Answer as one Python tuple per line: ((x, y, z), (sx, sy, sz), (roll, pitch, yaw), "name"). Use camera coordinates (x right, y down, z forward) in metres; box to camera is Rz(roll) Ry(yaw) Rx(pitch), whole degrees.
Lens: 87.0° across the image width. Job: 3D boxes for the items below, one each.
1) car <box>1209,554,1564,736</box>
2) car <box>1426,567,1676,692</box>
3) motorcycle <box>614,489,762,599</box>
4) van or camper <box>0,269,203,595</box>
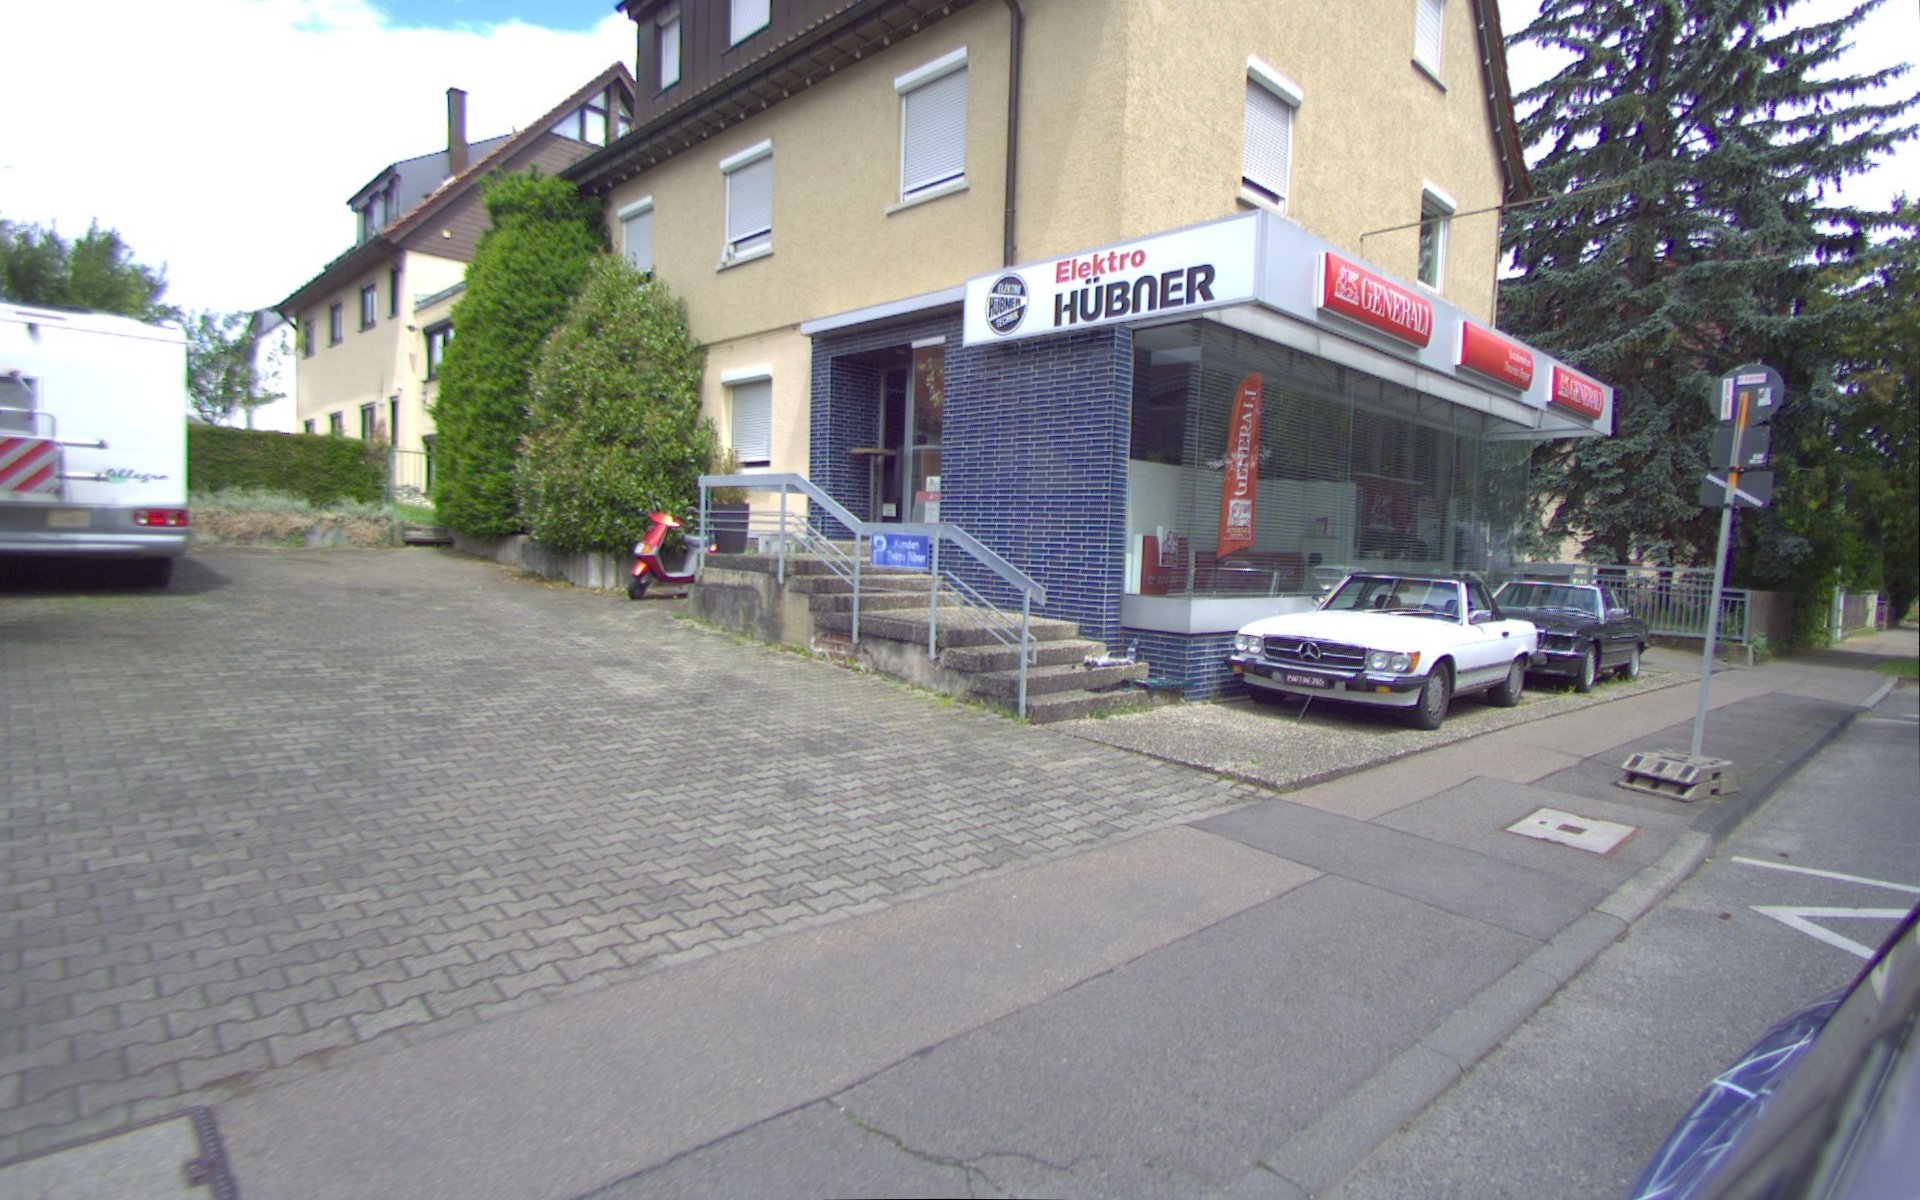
((4.416, 0.281, 10.069), (1.785, 1.332, 4.412), (6, 5, 43), "car")
((7.945, 0.272, 13.434), (1.786, 1.299, 4.247), (6, 5, 45), "car")
((-3.506, -0.753, 13.150), (1.876, 1.325, 0.402), (-5, 12, -42), "motorcycle")
((-10.548, -1.882, 11.229), (5.967, 2.883, 2.492), (10, 8, 43), "van or camper")
